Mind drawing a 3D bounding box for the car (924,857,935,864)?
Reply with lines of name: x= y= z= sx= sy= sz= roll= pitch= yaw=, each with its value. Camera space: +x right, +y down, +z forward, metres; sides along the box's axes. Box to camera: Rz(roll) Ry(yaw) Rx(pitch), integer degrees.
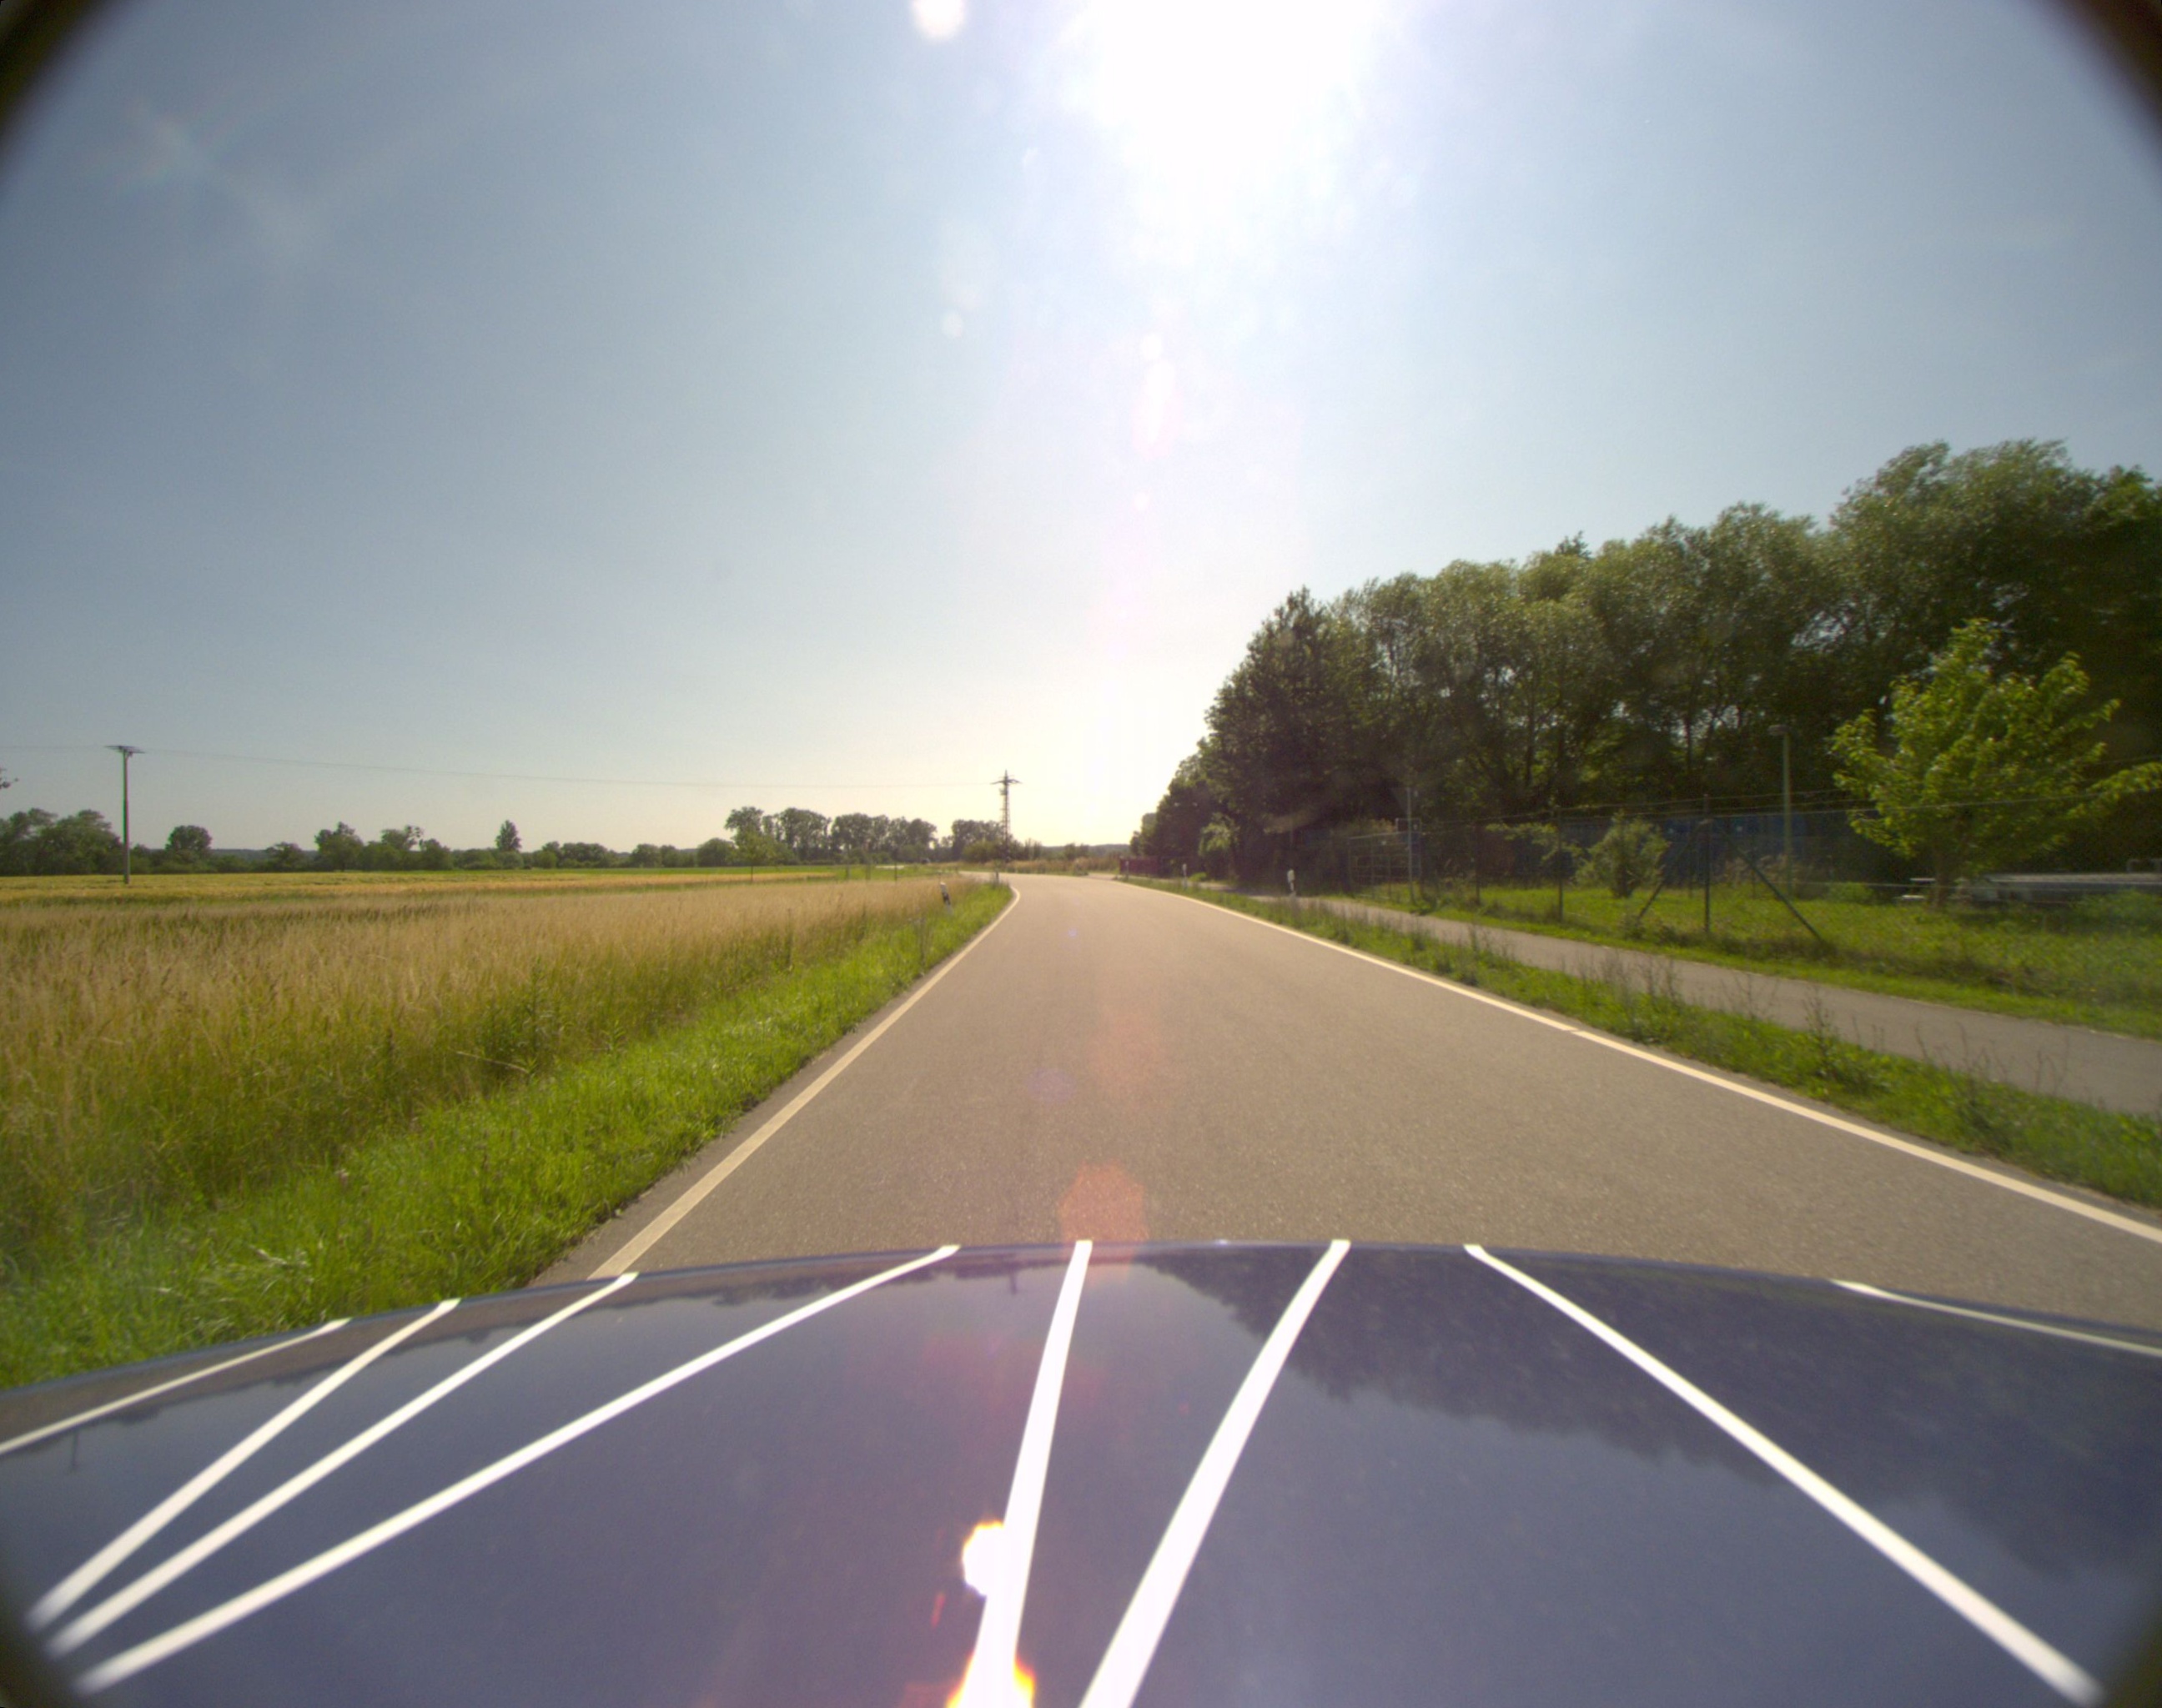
car: x=-41.423 y=1.759 z=207.852 sx=1.870 sy=1.742 sz=4.297 roll=0 pitch=0 yaw=3
